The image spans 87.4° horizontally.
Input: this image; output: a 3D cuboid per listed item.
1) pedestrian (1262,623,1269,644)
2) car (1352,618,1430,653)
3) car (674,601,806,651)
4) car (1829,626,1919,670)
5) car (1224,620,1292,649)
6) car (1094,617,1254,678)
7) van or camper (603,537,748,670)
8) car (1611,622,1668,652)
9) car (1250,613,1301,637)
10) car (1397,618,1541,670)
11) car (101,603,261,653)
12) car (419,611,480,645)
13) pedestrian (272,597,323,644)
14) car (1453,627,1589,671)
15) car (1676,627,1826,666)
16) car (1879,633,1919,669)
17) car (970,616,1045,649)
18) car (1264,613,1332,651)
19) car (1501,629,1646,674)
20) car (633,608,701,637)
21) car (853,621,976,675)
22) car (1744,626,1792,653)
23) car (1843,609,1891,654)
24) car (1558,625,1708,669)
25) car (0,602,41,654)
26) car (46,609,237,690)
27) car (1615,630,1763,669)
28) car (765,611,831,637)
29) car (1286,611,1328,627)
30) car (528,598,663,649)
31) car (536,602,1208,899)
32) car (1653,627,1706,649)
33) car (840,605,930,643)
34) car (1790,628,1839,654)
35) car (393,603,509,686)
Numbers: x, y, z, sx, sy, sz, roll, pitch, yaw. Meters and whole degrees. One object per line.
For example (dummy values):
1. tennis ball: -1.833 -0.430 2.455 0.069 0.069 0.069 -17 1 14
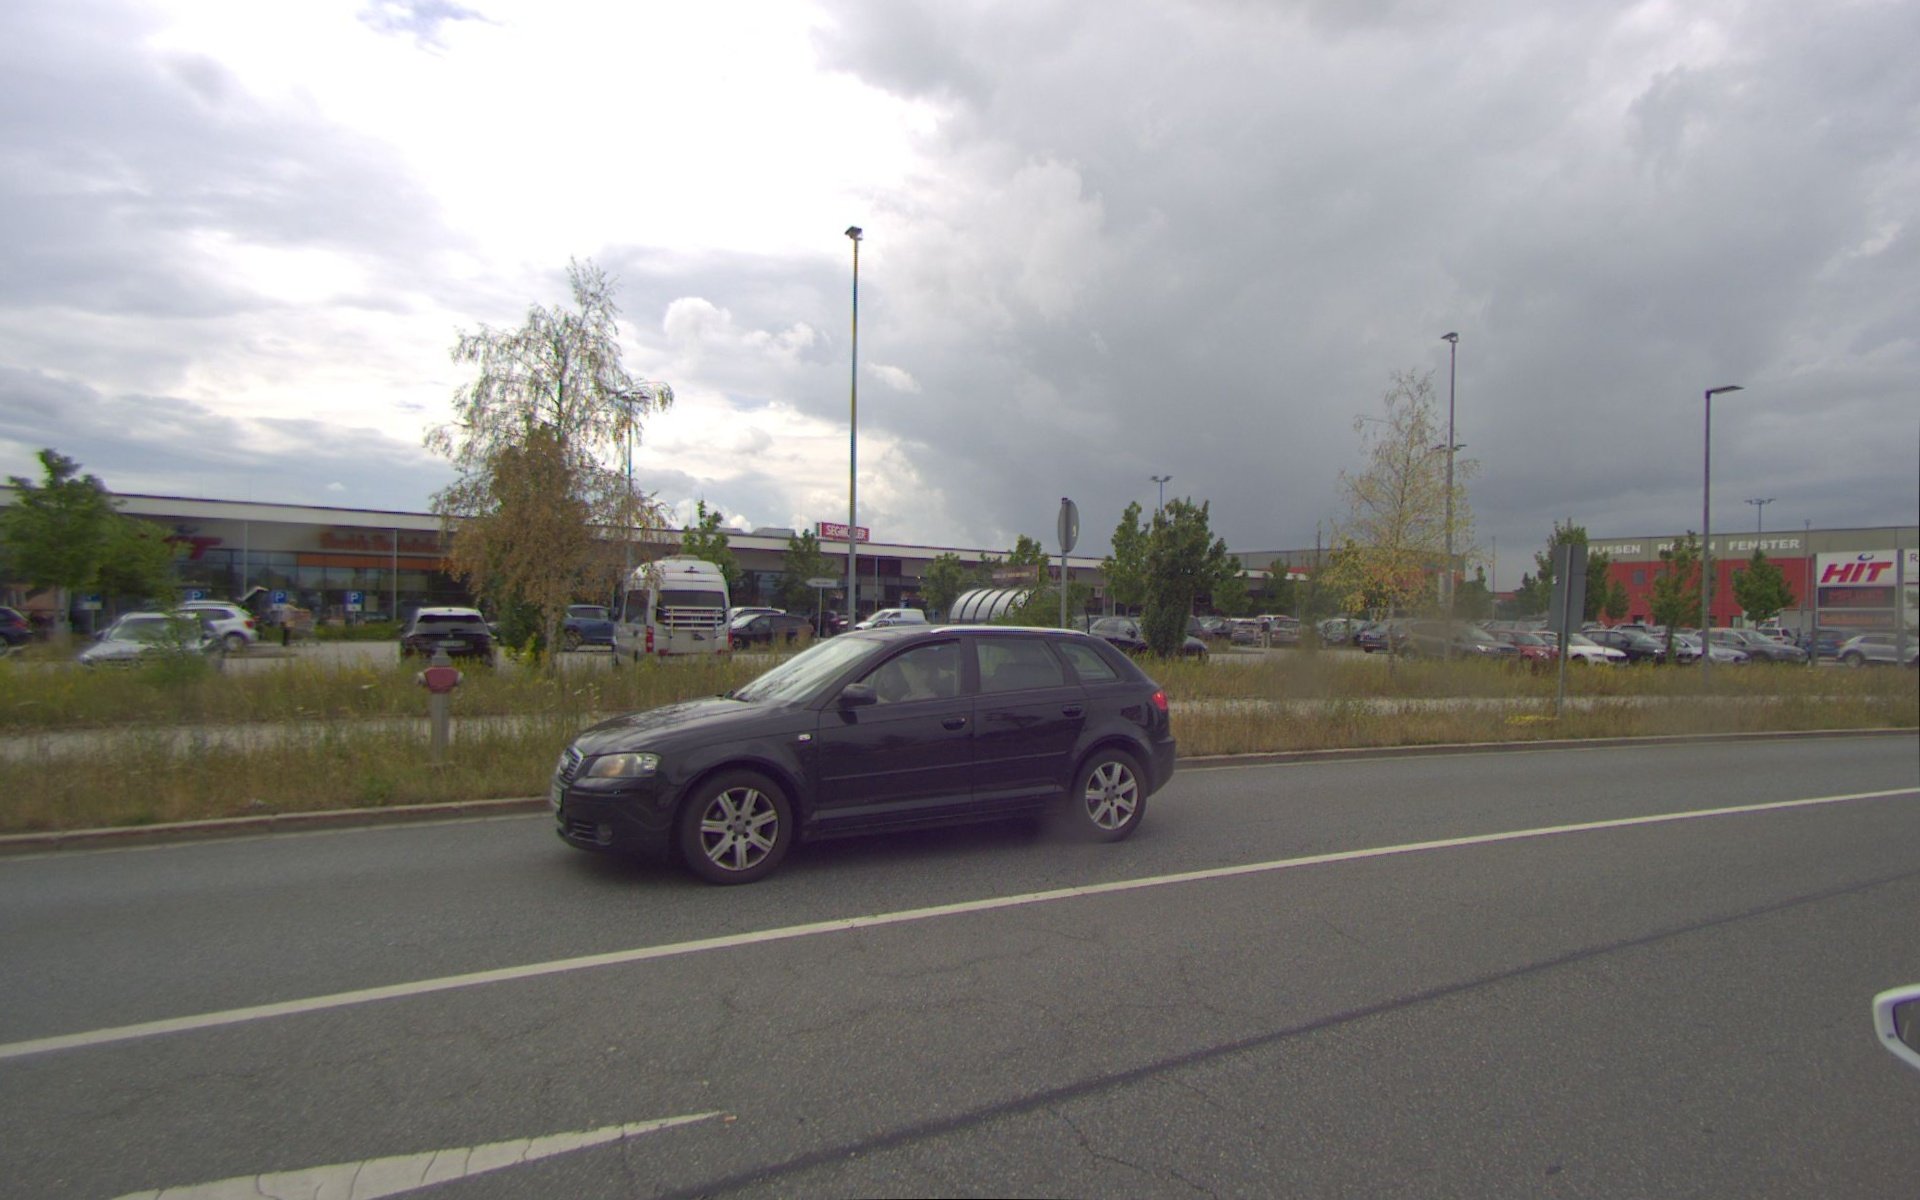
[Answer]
1. pedestrian: 15.933 1.750 52.389 0.263 1.063 0.391 2 0 3
2. car: 21.416 1.730 49.838 3.967 1.628 1.977 2 -1 -40
3. car: -9.074 1.075 41.568 4.879 1.925 2.137 2 -1 -36
4. car: 40.999 2.096 43.813 2.000 1.746 4.233 2 -1 -23
5. car: 16.680 1.920 56.199 3.970 1.528 1.816 2 -1 -42
6. car: 5.006 1.090 24.099 1.980 1.276 4.077 1 -1 -18
7. van or camper: -7.097 0.120 24.523 2.215 2.837 5.829 2 -1 -27
8. car: 39.712 2.144 58.662 3.970 1.628 1.831 2 -1 -42
9. car: 24.255 1.916 77.126 3.970 1.755 1.976 2 -1 -42
10. car: 17.897 1.507 35.540 2.049 1.677 4.294 1 -1 -20
11. car: -24.507 0.874 31.722 3.870 1.461 1.869 2 -1 -39
12. car: -24.448 1.321 48.037 1.982 1.494 3.958 1 -1 -37
13. pedestrian: -23.560 0.740 35.741 0.875 1.628 1.255 1 -1 32
14. car: 20.242 1.738 36.436 1.968 1.409 4.083 1 -1 -17
15. car: 32.013 1.857 40.827 2.130 1.409 4.356 1 -1 -17
16. car: 43.598 2.301 44.199 2.014 1.533 4.239 2 0 -18
17. car: 2.583 1.734 54.283 3.974 1.706 1.814 2 -1 -45
18. car: 18.211 1.710 54.003 1.813 1.947 4.422 1 -1 43
19. car: 22.569 1.869 37.171 1.980 1.476 4.313 1 -1 -20
20. car: -16.182 1.235 55.369 1.991 1.502 3.998 2 -1 -44
21. car: -1.354 1.282 27.918 1.984 1.322 4.313 1 -1 -24
22. car: 55.347 2.659 68.790 3.970 1.752 1.976 2 -1 -42
23. car: 58.518 2.009 64.754 2.037 2.726 5.113 0 -1 45
24. car: 25.612 1.759 38.425 2.204 1.525 4.362 1 -1 -18
25. car: -28.581 0.757 28.206 4.039 1.461 1.825 2 -1 -45
26. car: -16.086 0.909 20.024 2.116 1.384 4.547 1 -1 -29
27. car: 28.388 1.900 39.271 1.997 1.358 4.305 1 -1 -22
28. car: -9.895 1.450 61.194 1.991 1.502 3.998 2 -1 -44
29. car: 37.540 2.032 108.820 1.978 1.628 3.964 2 -1 -33
30. car: -13.530 0.875 37.437 4.357 1.775 1.887 2 -1 -41
31. car: -0.486 0.825 6.758 4.185 1.464 1.710 2 -2 -30
32. car: 51.765 2.726 72.253 4.191 1.539 1.979 2 -1 -38
33. car: -3.943 1.284 53.090 4.272 1.899 2.218 2 -1 -41
34. car: 56.637 2.710 66.565 3.970 1.628 1.976 2 -1 -42
35. car: -11.119 0.914 22.086 2.057 1.656 3.931 1 -1 -26
